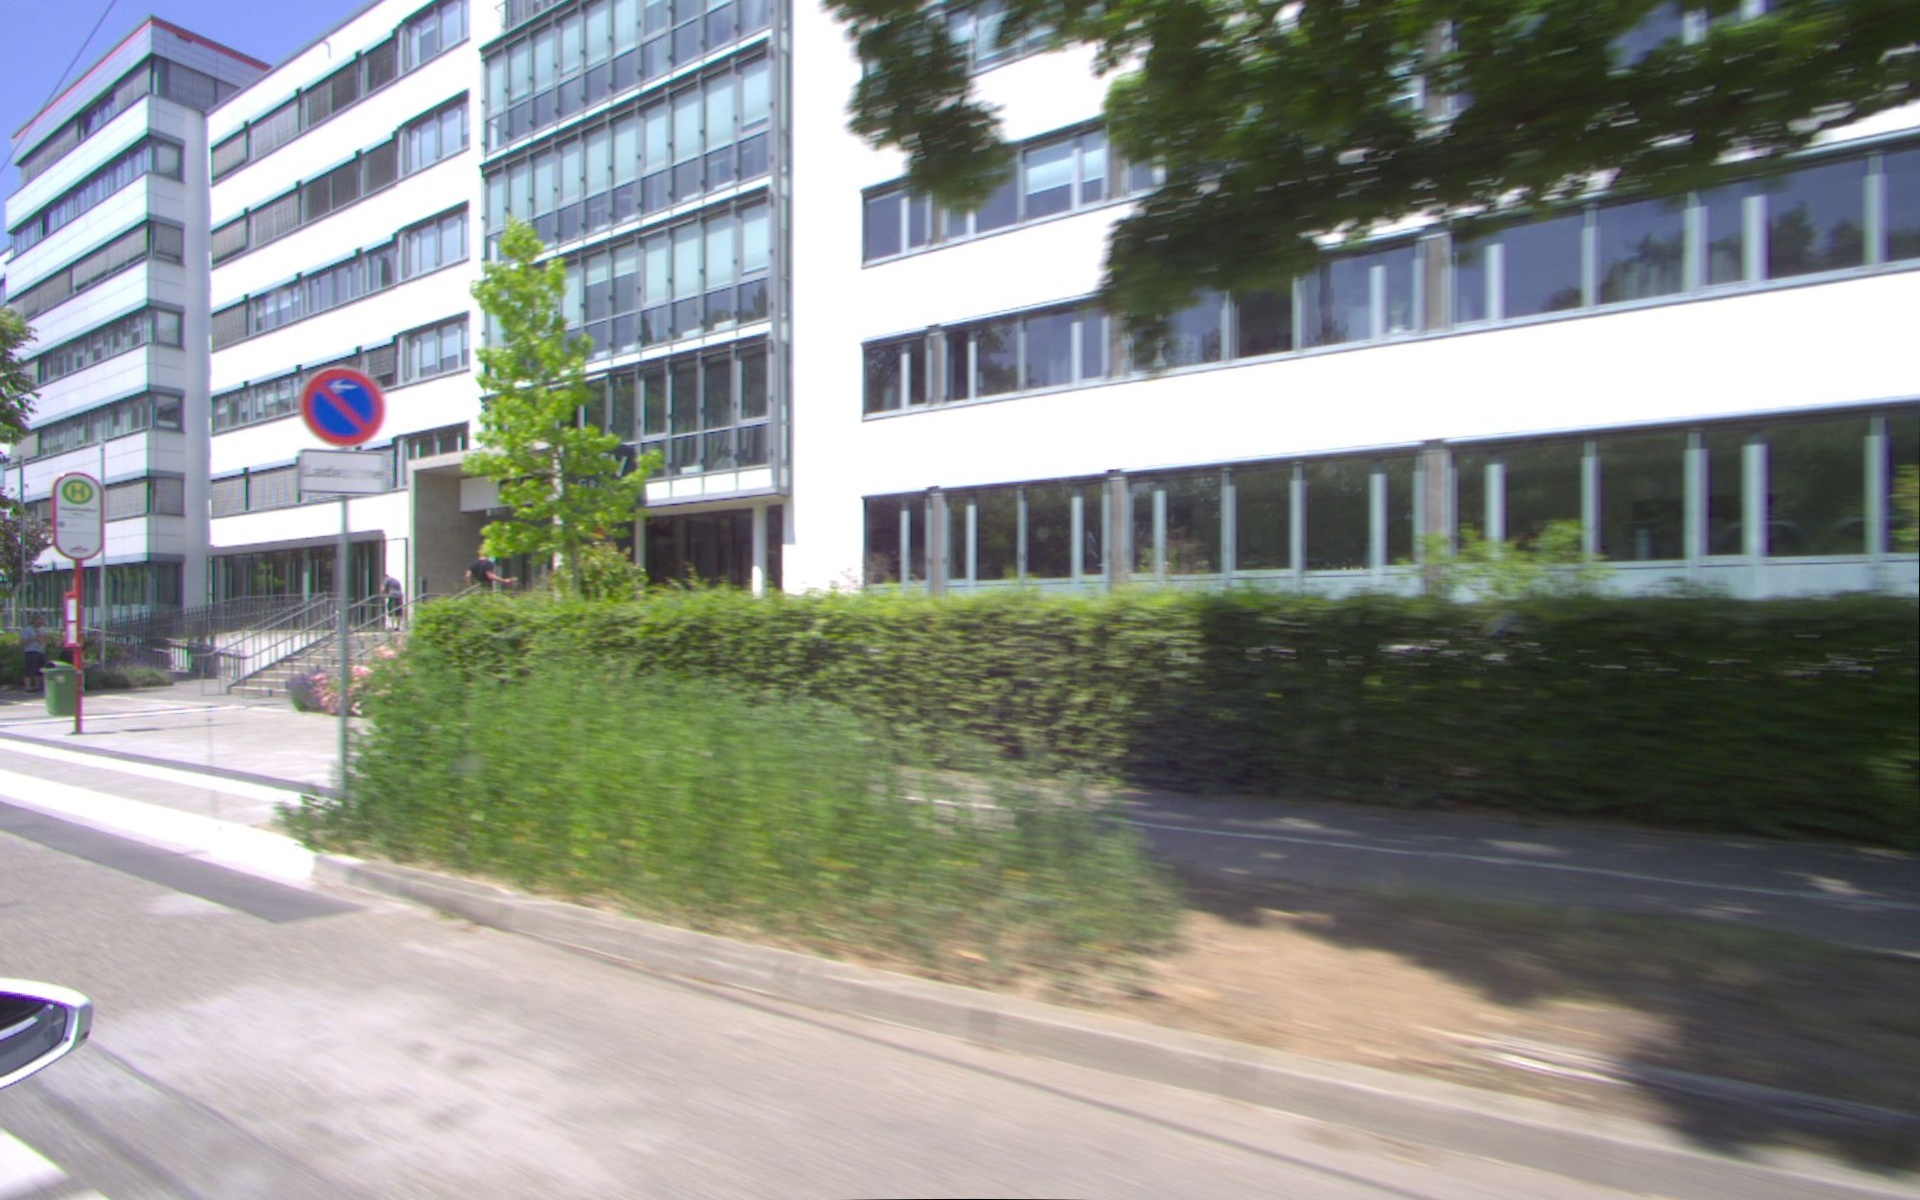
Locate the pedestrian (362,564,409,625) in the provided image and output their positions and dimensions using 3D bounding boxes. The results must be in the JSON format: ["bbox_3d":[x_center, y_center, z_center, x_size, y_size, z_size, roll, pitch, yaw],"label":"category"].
[{"bbox_3d":[-16.978,-0.133,29.590,0.796,1.737,0.876,0,-3,32],"label":"pedestrian"}]

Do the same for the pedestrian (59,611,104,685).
[{"bbox_3d":[-20.775,1.130,23.679,0.554,1.737,0.539,-1,0,4],"label":"pedestrian"}]

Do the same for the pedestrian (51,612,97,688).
[{"bbox_3d":[-20.467,1.147,23.149,0.554,1.737,0.539,-1,0,4],"label":"pedestrian"}]

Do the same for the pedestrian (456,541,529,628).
[{"bbox_3d":[-9.648,-0.300,20.682,1.073,1.737,0.873,-1,0,28],"label":"pedestrian"}]

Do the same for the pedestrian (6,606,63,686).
[{"bbox_3d":[-21.439,1.048,23.212,0.661,1.820,0.679,-1,0,2],"label":"pedestrian"}]
